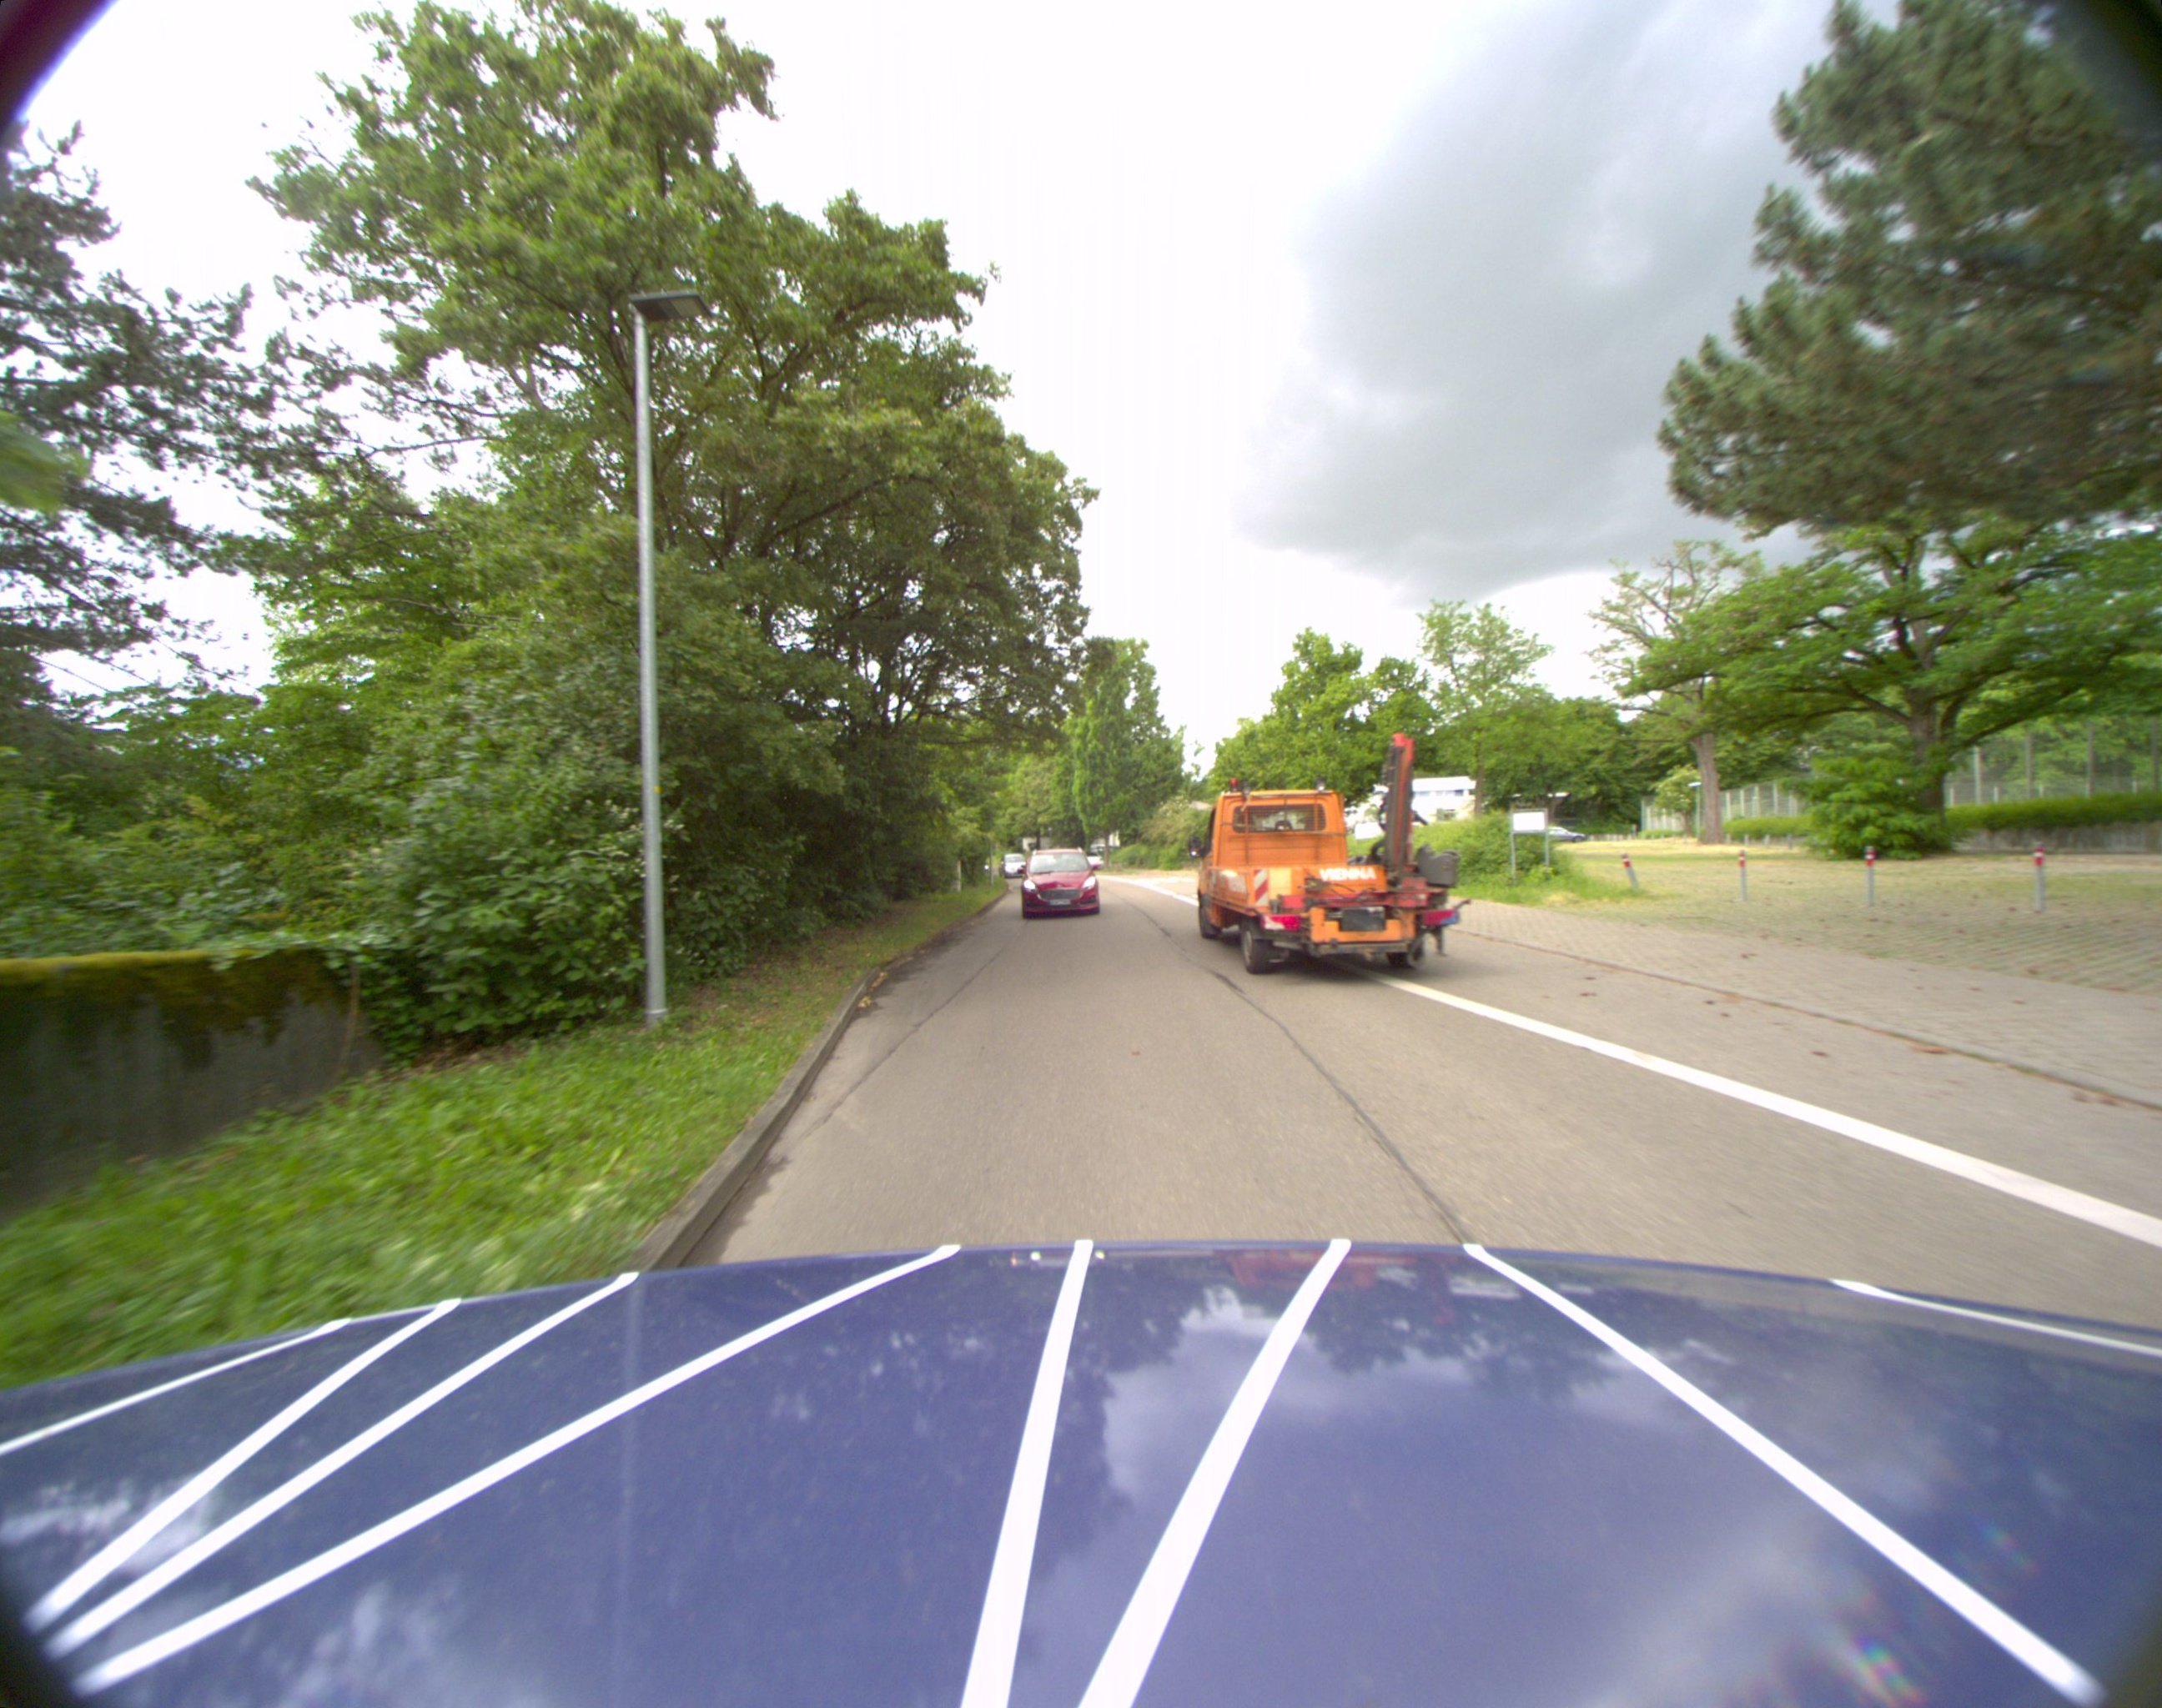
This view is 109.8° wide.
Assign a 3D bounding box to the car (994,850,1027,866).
[{"bbox_3d":[-7.088,0.433,76.169,1.856,1.483,3.991,-3,1,-27],"label":"car"}]

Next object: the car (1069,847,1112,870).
[{"bbox_3d":[0.596,0.329,53.975,1.854,1.483,4.630,-3,1,-14],"label":"car"}]

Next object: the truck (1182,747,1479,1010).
[{"bbox_3d":[2.837,0.237,10.448,2.327,2.456,6.021,-3,0,4],"label":"truck"}]

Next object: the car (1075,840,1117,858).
[{"bbox_3d":[1.590,-0.545,80.559,3.802,1.629,2.003,-2,2,29],"label":"car"}]

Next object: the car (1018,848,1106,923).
[{"bbox_3d":[-0.556,0.695,19.516,1.946,1.550,4.353,-3,2,-3],"label":"car"}]

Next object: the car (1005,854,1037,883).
[{"bbox_3d":[-4.041,0.940,51.696,1.999,1.685,3.997,-4,2,-4],"label":"car"}]

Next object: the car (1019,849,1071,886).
[{"bbox_3d":[-1.766,0.584,35.482,1.949,1.523,4.083,-4,1,-8],"label":"car"}]
